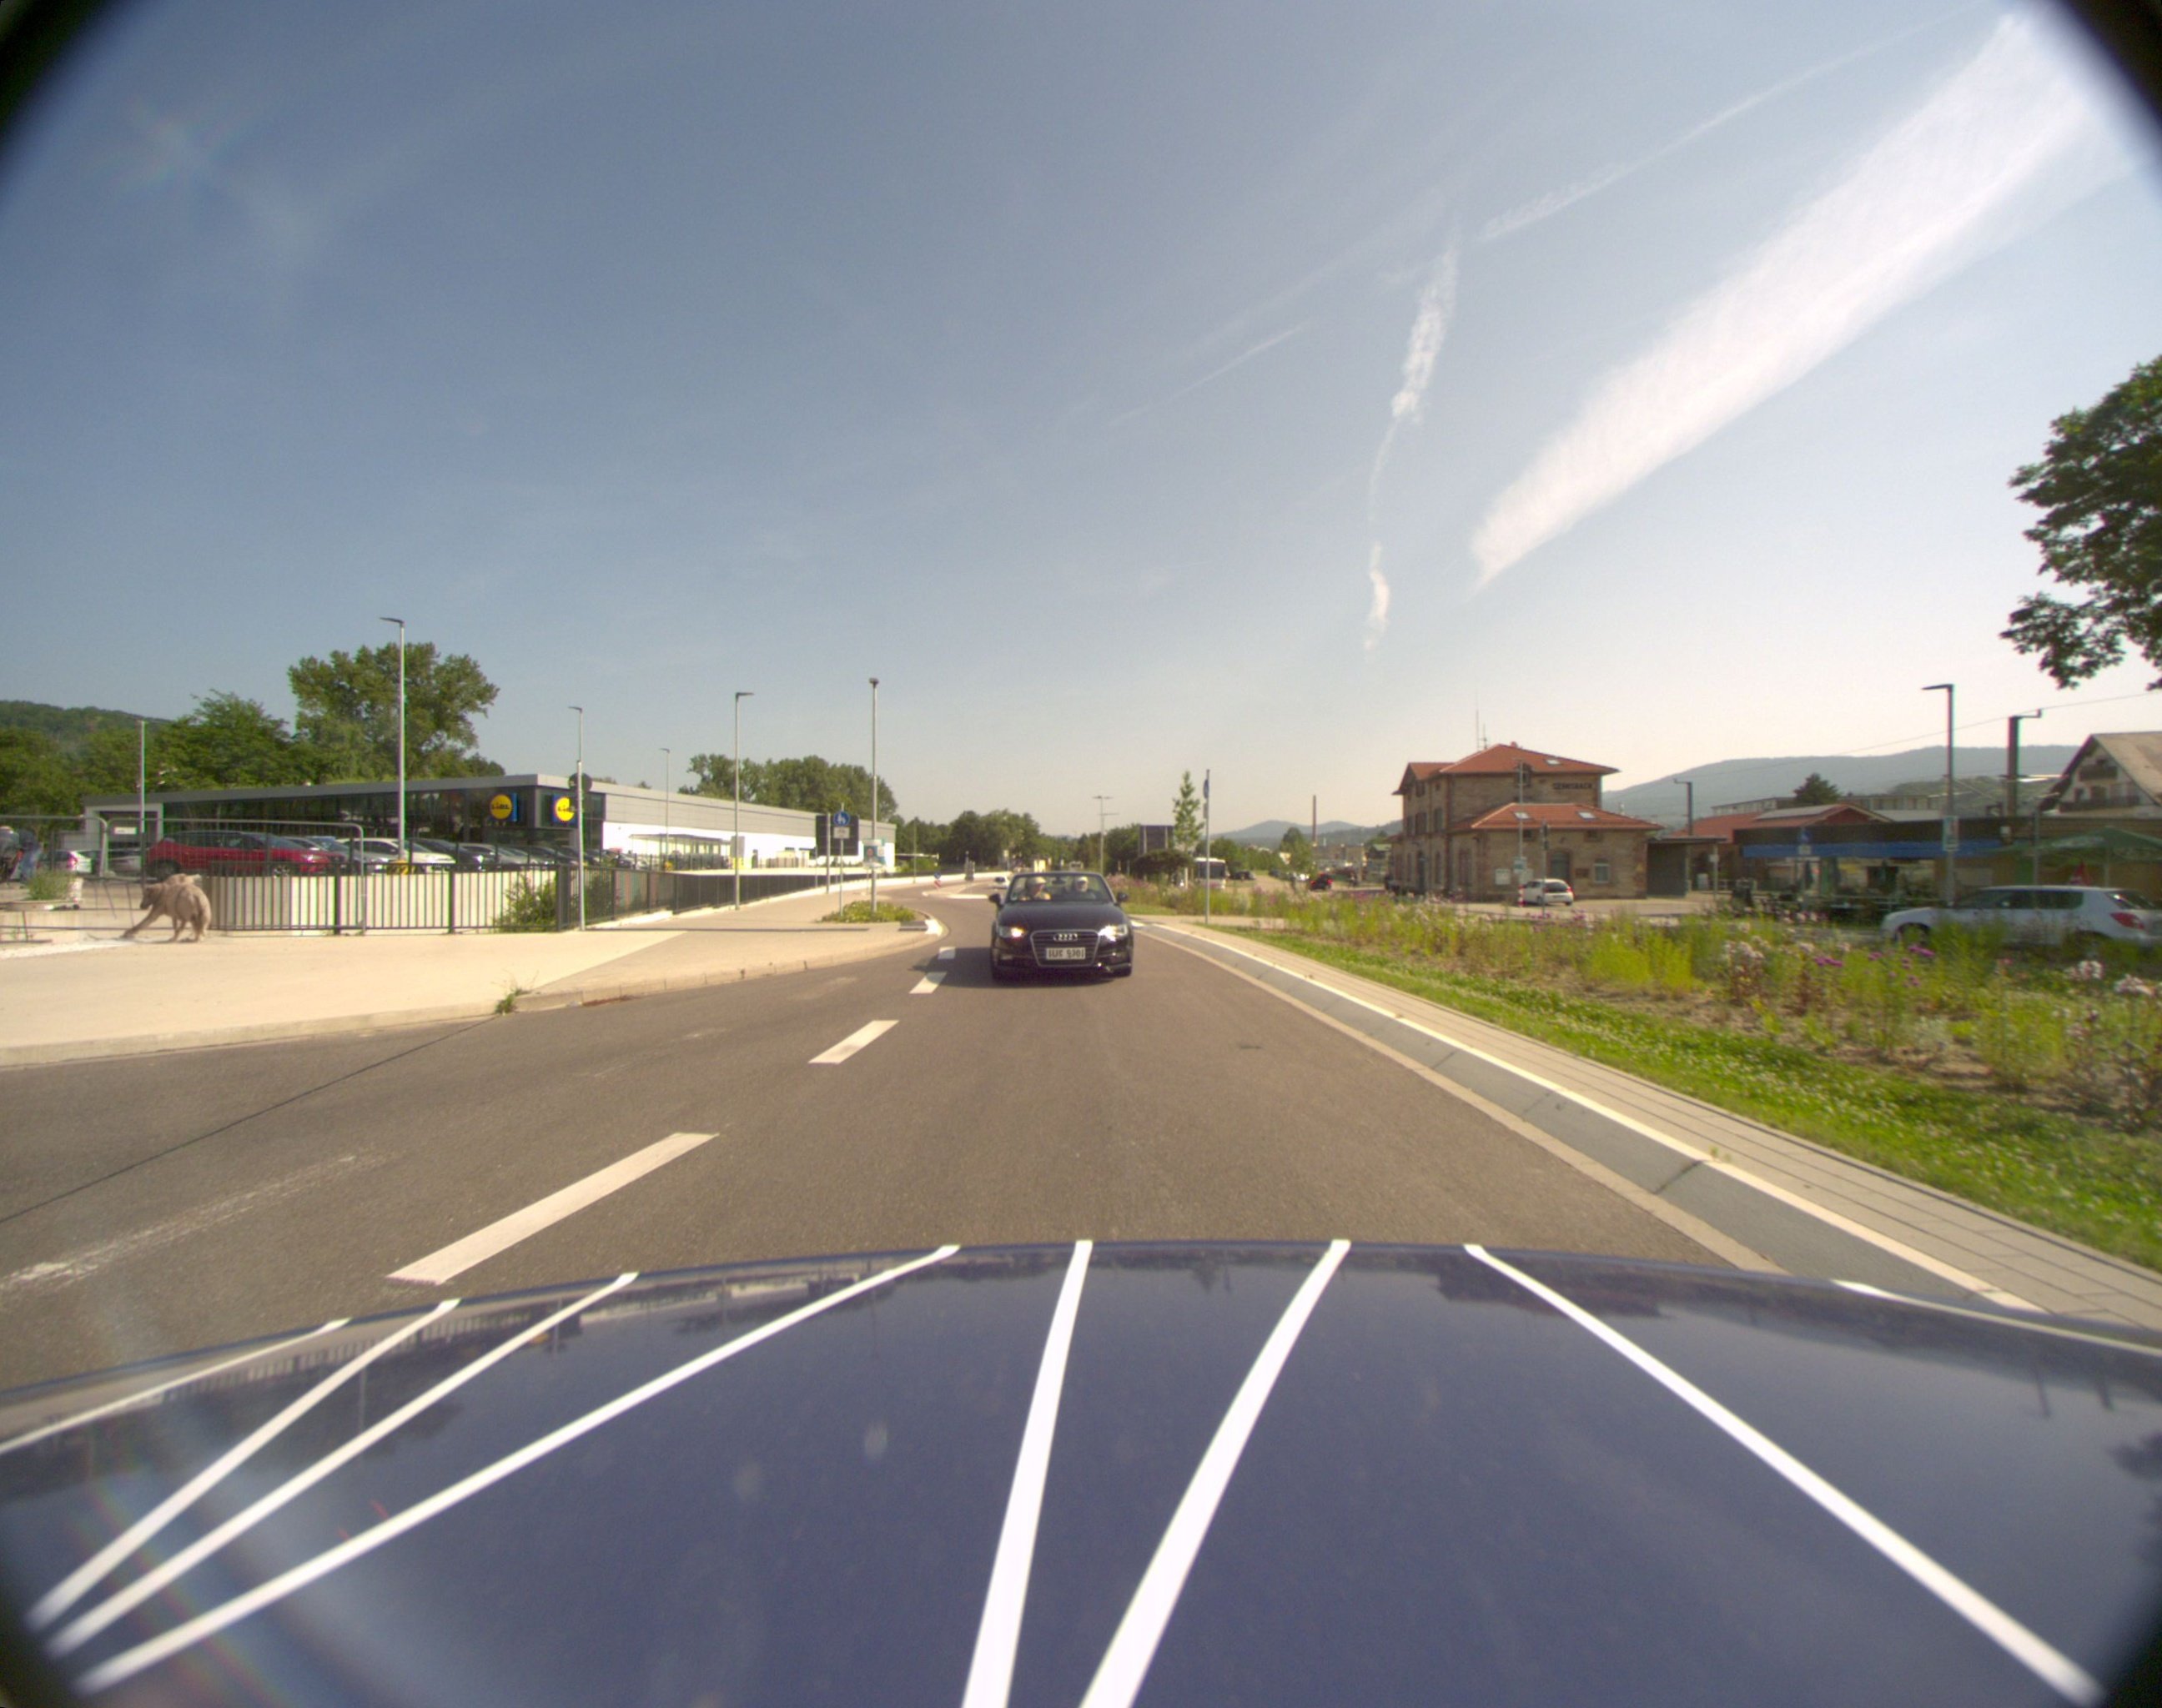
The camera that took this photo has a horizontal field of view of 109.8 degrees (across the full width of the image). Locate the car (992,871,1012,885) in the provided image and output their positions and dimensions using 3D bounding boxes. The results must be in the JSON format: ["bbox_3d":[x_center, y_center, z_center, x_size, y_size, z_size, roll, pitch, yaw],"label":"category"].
[{"bbox_3d":[-8.699,2.593,83.324,1.782,1.390,3.997,-2,-1,-10],"label":"car"}]

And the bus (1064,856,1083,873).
[{"bbox_3d":[-1.400,1.972,143.858,2.867,3.173,9.120,-1,0,3],"label":"bus"}]

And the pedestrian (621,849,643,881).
[{"bbox_3d":[-29.465,0.719,49.897,0.832,2.002,0.863,-2,0,0],"label":"pedestrian"}]

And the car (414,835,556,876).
[{"bbox_3d":[-25.477,0.067,32.632,4.418,1.564,1.702,-2,0,-15],"label":"car"}]

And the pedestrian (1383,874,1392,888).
[{"bbox_3d":[25.752,2.259,63.818,0.511,1.155,0.507,-2,0,10],"label":"pedestrian"}]

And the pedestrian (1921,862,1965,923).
[{"bbox_3d":[29.152,1.296,25.694,0.860,2.002,0.708,-2,0,-24],"label":"pedestrian"}]

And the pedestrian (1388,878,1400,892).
[{"bbox_3d":[25.359,2.504,61.607,0.789,1.155,0.507,-2,0,10],"label":"pedestrian"}]

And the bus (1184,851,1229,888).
[{"bbox_3d":[12.338,1.500,75.485,2.586,3.309,10.589,-2,-1,0],"label":"bus"}]

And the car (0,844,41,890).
[{"bbox_3d":[-39.160,0.463,25.861,1.999,1.608,4.000,-2,0,-1],"label":"car"}]

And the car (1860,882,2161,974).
[{"bbox_3d":[19.360,1.430,15.863,1.676,1.522,3.995,1,0,-15],"label":"car"}]

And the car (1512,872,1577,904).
[{"bbox_3d":[26.244,1.911,43.176,1.678,1.559,3.652,-2,1,4],"label":"car"}]

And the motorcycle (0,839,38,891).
[{"bbox_3d":[-25.476,0.279,18.042,1.898,1.184,0.592,-2,-1,28],"label":"motorcycle"}]

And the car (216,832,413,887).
[{"bbox_3d":[-24.221,0.170,24.179,4.023,1.564,1.777,-2,0,-13],"label":"car"}]

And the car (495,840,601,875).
[{"bbox_3d":[-26.769,0.174,38.295,4.002,1.564,1.702,-2,0,-15],"label":"car"}]

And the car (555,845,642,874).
[{"bbox_3d":[-28.645,0.316,45.213,4.002,1.564,1.702,-2,0,-15],"label":"car"}]

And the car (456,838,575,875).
[{"bbox_3d":[-26.103,0.117,35.212,4.002,1.564,1.702,-2,0,-15],"label":"car"}]

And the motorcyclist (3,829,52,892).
[{"bbox_3d":[-25.954,0.163,18.730,0.515,1.533,0.581,-2,0,-36],"label":"motorcyclist"}]

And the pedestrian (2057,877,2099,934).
[{"bbox_3d":[28.985,1.481,22.091,0.651,1.580,0.567,-2,0,-24],"label":"pedestrian"}]

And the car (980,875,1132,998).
[{"bbox_3d":[-0.275,1.003,10.859,1.721,1.314,4.224,-1,-1,0],"label":"car"}]

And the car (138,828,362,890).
[{"bbox_3d":[-23.805,0.131,21.940,4.023,1.564,1.777,-2,0,-13],"label":"car"}]

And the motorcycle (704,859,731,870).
[{"bbox_3d":[-29.784,0.850,62.205,1.881,0.858,0.625,-2,0,-33],"label":"motorcycle"}]

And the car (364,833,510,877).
[{"bbox_3d":[-25.264,0.032,29.979,4.002,1.564,1.702,-2,0,-15],"label":"car"}]

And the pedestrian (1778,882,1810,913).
[{"bbox_3d":[27.883,1.680,29.713,0.559,1.157,0.680,-2,0,-13],"label":"pedestrian"}]

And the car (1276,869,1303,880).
[{"bbox_3d":[36.909,3.609,134.557,4.000,1.717,1.837,-2,0,-9],"label":"car"}]

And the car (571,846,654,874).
[{"bbox_3d":[-29.739,0.389,48.326,4.134,1.564,1.702,-2,0,-15],"label":"car"}]

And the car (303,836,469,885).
[{"bbox_3d":[-24.742,0.220,27.198,4.002,1.564,1.702,-2,0,-15],"label":"car"}]

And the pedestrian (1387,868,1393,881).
[{"bbox_3d":[27.715,1.869,68.079,0.371,1.155,0.507,-2,0,10],"label":"pedestrian"}]
